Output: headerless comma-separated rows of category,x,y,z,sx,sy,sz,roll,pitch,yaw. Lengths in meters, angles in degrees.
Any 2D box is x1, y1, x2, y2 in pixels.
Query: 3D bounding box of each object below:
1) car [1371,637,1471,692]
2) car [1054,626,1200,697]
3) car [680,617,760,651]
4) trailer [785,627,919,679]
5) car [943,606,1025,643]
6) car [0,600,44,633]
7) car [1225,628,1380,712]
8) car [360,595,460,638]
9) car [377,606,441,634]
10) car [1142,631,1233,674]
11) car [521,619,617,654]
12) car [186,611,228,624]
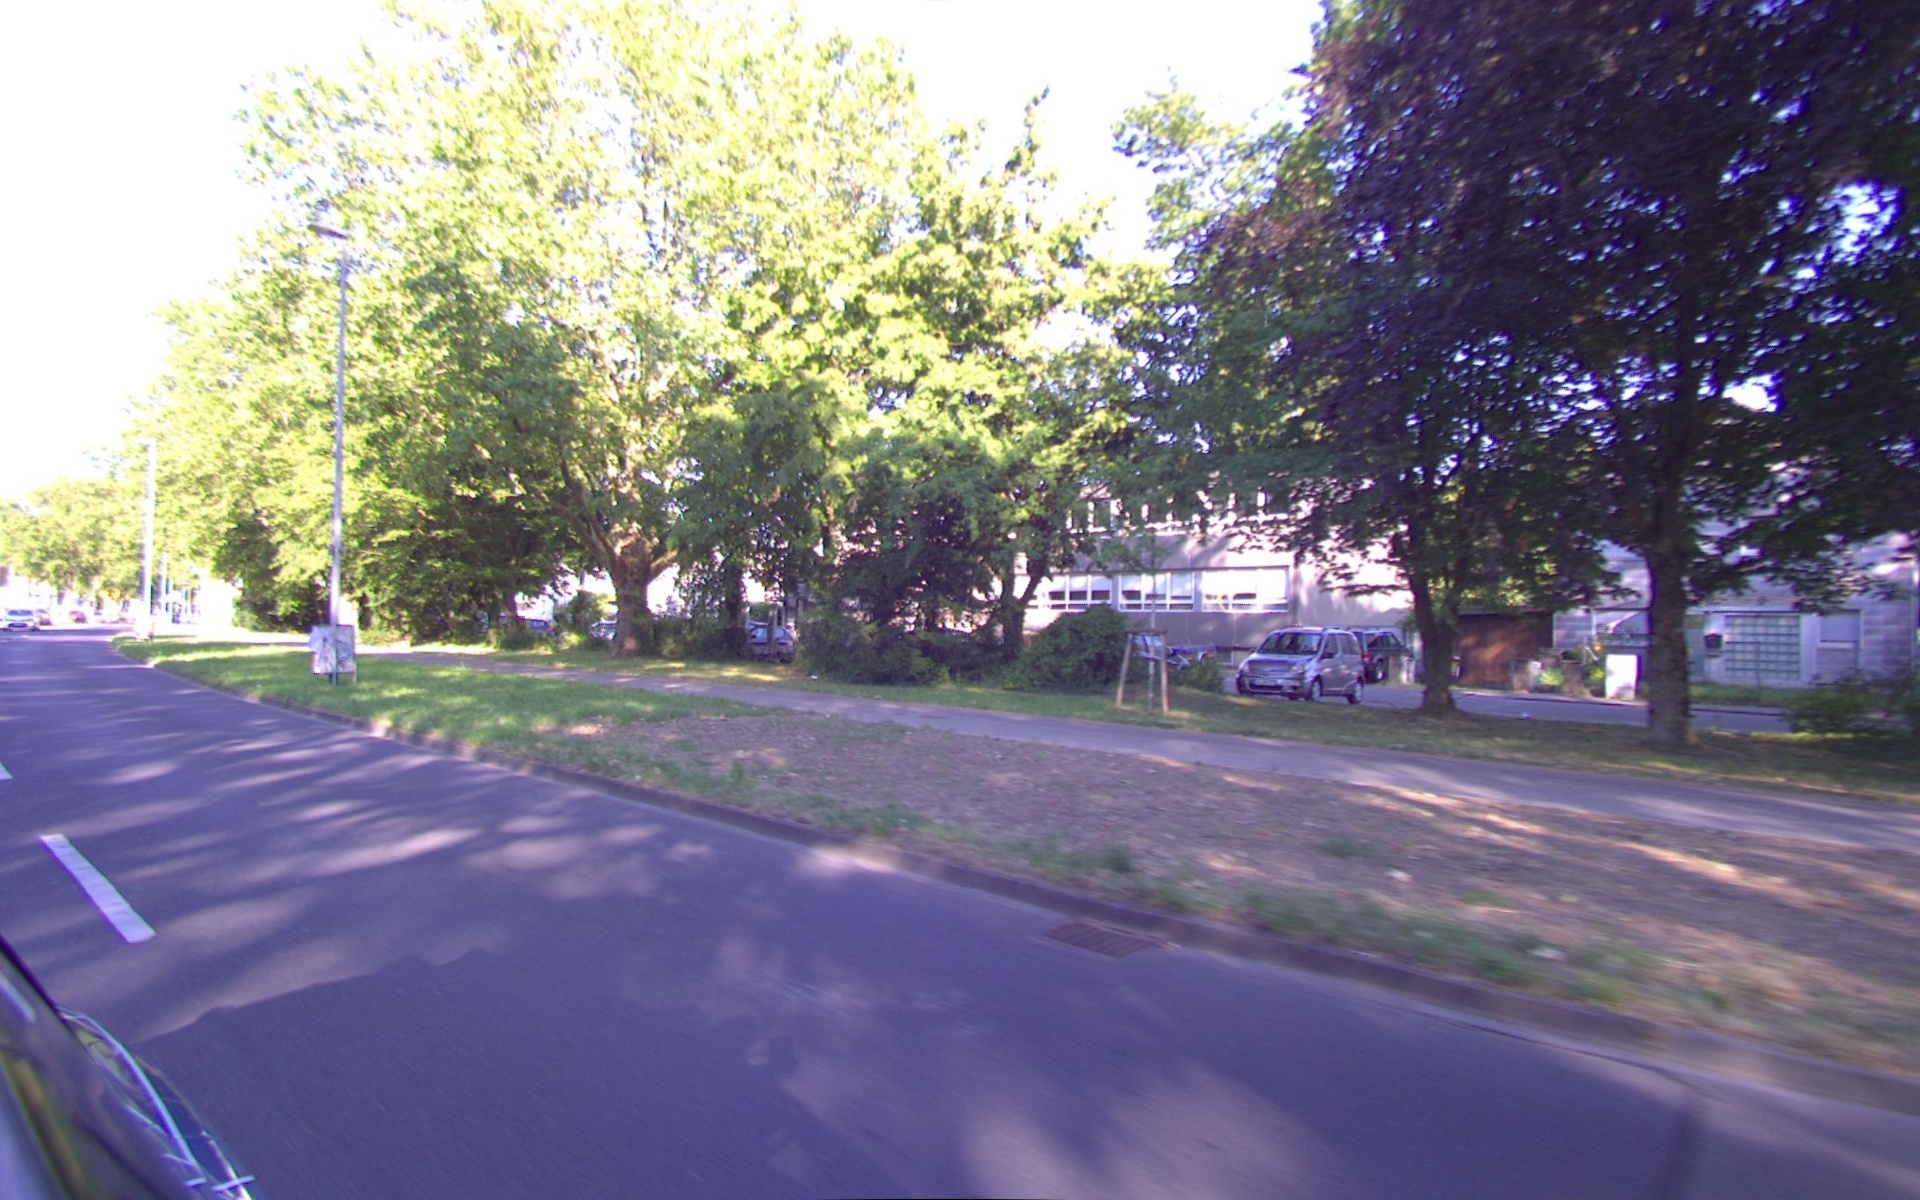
car,14.955,2.074,32.727,1.928,1.613,3.946,0,-3,40
car,4.294,1.539,25.630,1.928,1.613,3.947,0,-3,40
car,-15.010,2.137,63.343,2.000,2.029,4.494,0,-1,43
trailer,-3.461,1.728,32.862,2.000,1.567,3.942,-1,-3,43
car,1.191,1.205,48.860,1.928,1.613,3.946,0,-3,40
car,-61.442,1.052,65.953,1.903,2.029,4.011,3,-2,-34
car,7.555,1.495,22.130,1.928,1.613,3.947,0,-3,40
car,-36.374,1.124,67.047,5.363,2.521,2.190,5,-4,-41
car,-42.974,1.567,78.972,1.909,2.060,3.942,-4,-4,44
car,9.135,2.094,40.500,1.928,1.613,3.946,0,-3,40
car,-17.852,1.687,46.335,1.766,1.475,3.690,-1,-3,42
car,-87.903,2.046,118.179,3.934,1.429,1.918,1,-3,-36
